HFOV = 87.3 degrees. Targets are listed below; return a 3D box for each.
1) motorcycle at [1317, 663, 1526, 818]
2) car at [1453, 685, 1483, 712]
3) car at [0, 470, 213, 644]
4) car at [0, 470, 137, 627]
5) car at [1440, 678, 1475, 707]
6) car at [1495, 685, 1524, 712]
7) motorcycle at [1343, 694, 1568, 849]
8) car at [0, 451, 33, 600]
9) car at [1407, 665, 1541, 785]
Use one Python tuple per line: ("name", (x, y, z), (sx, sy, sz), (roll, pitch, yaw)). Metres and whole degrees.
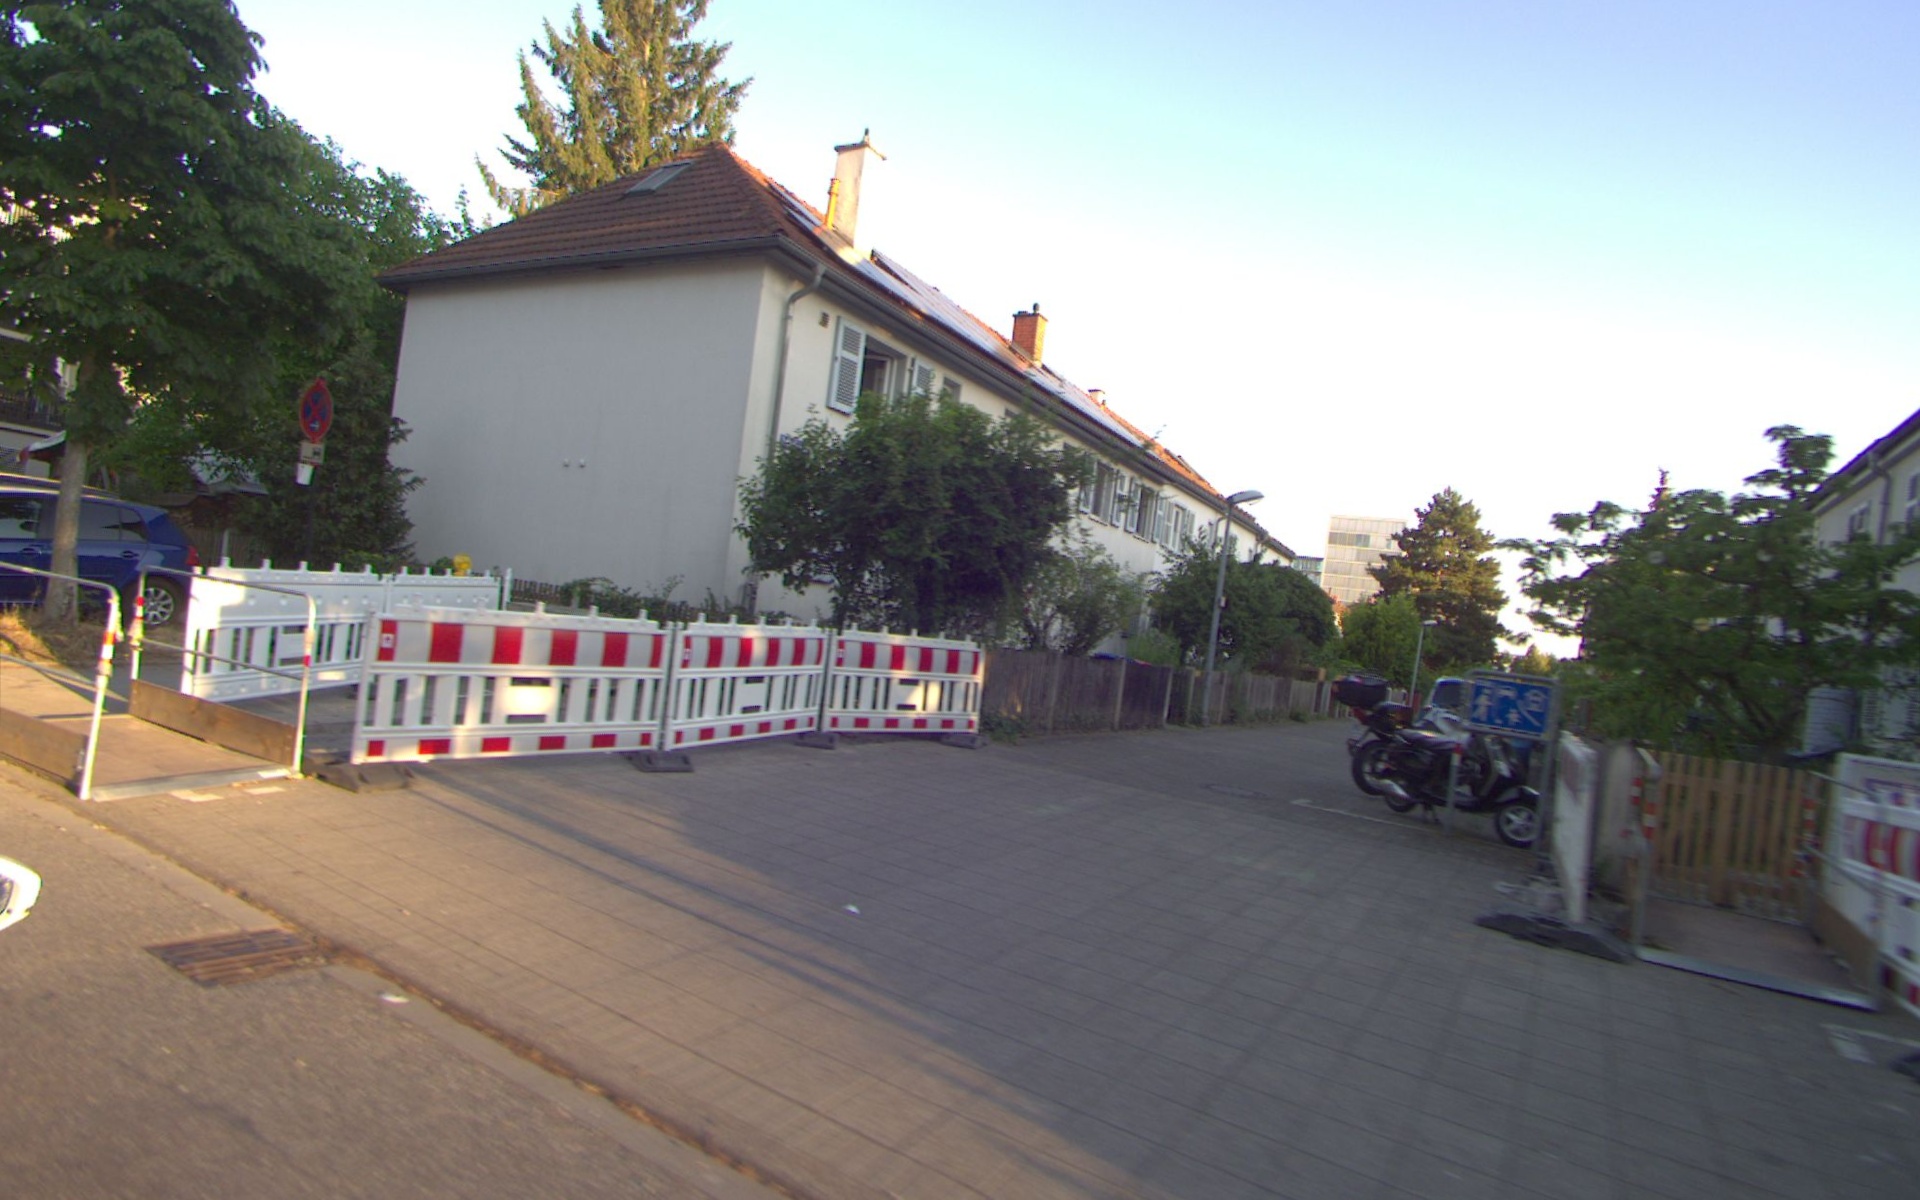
("motorcycle", (5.218, 1.585, 11.392), (2.047, 1.433, 0.596), (8, -1, -12))
("car", (44.003, 8.560, 87.112), (1.966, 2.037, 3.997), (7, -2, 29))
("car", (-10.494, -0.572, 10.406), (1.732, 1.670, 4.003), (8, -2, 21))
("car", (-12.613, -0.825, 11.783), (1.964, 1.788, 4.001), (8, -2, 24))
("car", (37.008, 6.909, 74.825), (1.966, 1.833, 3.997), (7, -2, 29))
("car", (49.657, 8.914, 90.891), (1.966, 2.037, 3.996), (7, -2, 30))
("motorcycle", (4.704, 1.607, 9.698), (0.575, 1.118, 1.833), (8, -1, -29))
("car", (-15.030, -1.296, 12.518), (2.063, 2.047, 4.571), (8, -1, 23))
("car", (9.139, 2.164, 17.733), (1.691, 1.656, 3.629), (7, -2, 31))
